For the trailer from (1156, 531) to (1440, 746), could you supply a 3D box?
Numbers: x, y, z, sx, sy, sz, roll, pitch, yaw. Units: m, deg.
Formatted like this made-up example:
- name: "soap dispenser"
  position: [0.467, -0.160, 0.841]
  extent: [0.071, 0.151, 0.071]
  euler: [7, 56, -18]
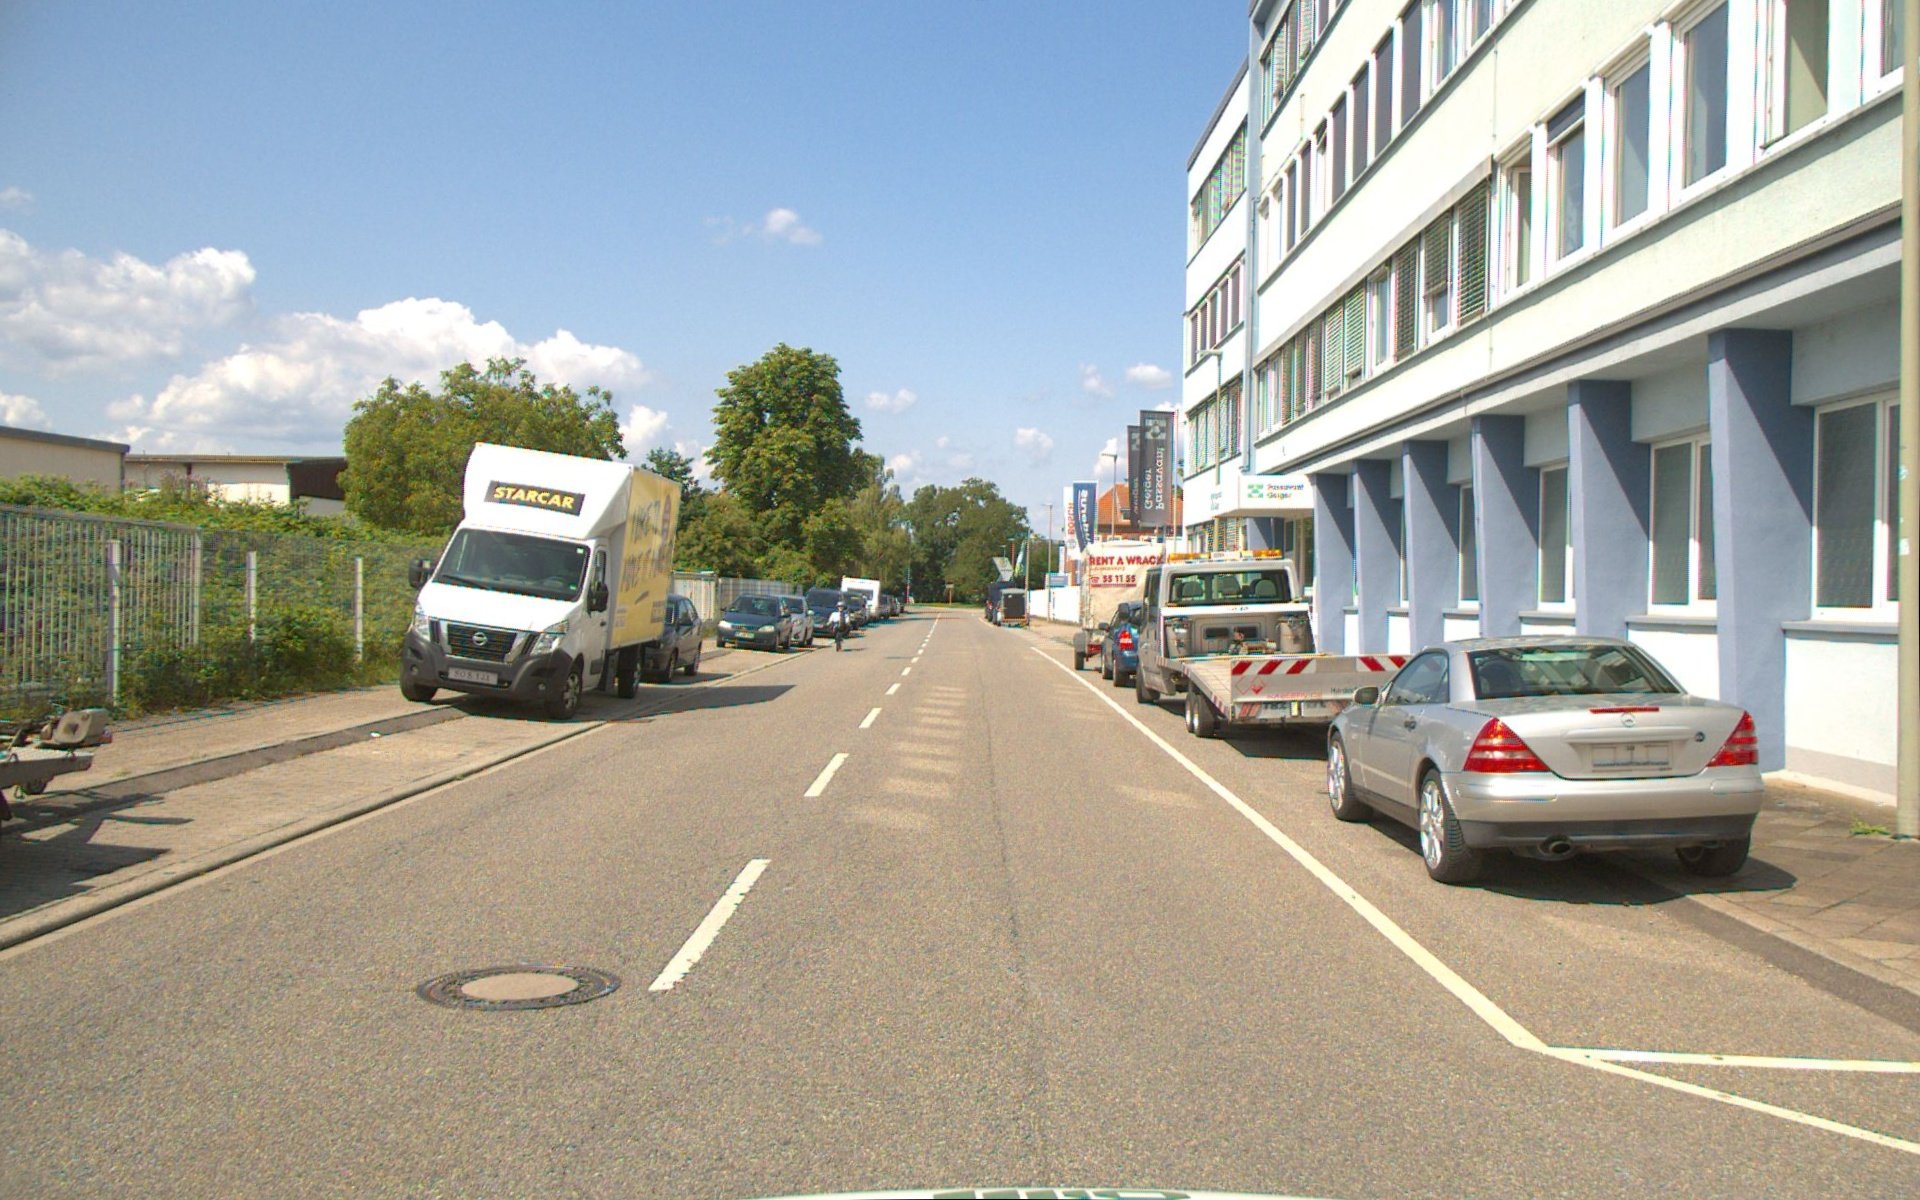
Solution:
- name: "trailer"
  position: [3.544, 0.357, 18.557]
  extent: [1.933, 2.005, 5.765]
  euler: [1, 0, -1]

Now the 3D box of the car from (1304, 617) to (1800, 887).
- name: "car"
  position: [3.394, 0.785, 10.315]
  extent: [1.613, 1.268, 4.000]
  euler: [1, 0, -1]

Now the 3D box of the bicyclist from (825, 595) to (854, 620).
- name: "bicyclist"
  position: [-3.328, 0.211, 45.687]
  extent: [0.554, 0.642, 1.858]
  euler: [2, 1, 3]

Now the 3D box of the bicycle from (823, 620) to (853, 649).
- name: "bicycle"
  position: [-3.353, 0.942, 45.692]
  extent: [0.575, 0.754, 2.126]
  euler: [1, 0, 2]

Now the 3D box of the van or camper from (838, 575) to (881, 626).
- name: "van or camper"
  position: [-6.091, 0.041, 101.027]
  extent: [2.218, 2.852, 6.831]
  euler: [5, 0, -2]

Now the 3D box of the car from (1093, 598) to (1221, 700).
- name: "car"
  position: [3.343, 0.807, 28.774]
  extent: [1.683, 1.569, 4.403]
  euler: [2, 0, 0]

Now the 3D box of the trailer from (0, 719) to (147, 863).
- name: "trailer"
  position: [-5.819, 0.979, 7.419]
  extent: [2.190, 0.562, 4.443]
  euler: [2, 0, -1]

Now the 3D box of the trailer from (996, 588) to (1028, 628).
- name: "trailer"
  position: [2.801, 0.444, 90.220]
  extent: [1.569, 2.073, 2.740]
  euler: [2, 0, -1]

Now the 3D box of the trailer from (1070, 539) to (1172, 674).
- name: "trailer"
  position: [3.318, 0.126, 34.840]
  extent: [1.830, 2.598, 5.073]
  euler: [1, 0, 2]

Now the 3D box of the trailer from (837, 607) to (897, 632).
- name: "trailer"
  position: [-4.270, 0.878, 77.151]
  extent: [2.225, 0.898, 7.132]
  euler: [6, 0, 1]

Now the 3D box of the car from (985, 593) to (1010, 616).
- name: "car"
  position: [2.846, 0.328, 126.894]
  extent: [1.787, 1.693, 4.555]
  euler: [0, 0, 0]

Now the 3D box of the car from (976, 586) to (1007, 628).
- name: "car"
  position: [2.163, 0.492, 114.409]
  extent: [1.898, 2.796, 6.153]
  euler: [1, 0, -1]

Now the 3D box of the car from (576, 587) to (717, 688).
- name: "car"
  position: [-5.430, 0.614, 29.093]
  extent: [1.587, 1.454, 3.826]
  euler: [7, 0, 0]

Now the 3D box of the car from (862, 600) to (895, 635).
- name: "car"
  position: [-4.563, 0.953, 92.102]
  extent: [1.651, 1.721, 4.441]
  euler: [5, 0, -4]

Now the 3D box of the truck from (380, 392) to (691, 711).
- name: "truck"
  position: [-5.381, -0.528, 22.247]
  extent: [2.205, 3.420, 6.905]
  euler: [5, -1, -1]

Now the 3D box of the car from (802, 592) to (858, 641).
- name: "car"
  position: [-4.865, 0.603, 62.488]
  extent: [1.764, 1.780, 4.712]
  euler: [1, 0, -1]

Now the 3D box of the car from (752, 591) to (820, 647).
- name: "car"
  position: [-5.146, 0.538, 49.266]
  extent: [1.582, 1.509, 3.709]
  euler: [3, 0, 0]

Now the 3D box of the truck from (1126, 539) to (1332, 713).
- name: "truck"
  position: [3.479, 0.311, 22.291]
  extent: [1.924, 2.071, 4.733]
  euler: [1, 0, -1]

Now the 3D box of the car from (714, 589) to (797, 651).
- name: "car"
  position: [-5.423, 0.499, 44.294]
  extent: [1.537, 1.423, 3.799]
  euler: [6, 0, 1]

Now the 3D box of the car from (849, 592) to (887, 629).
- name: "car"
  position: [-4.751, 0.528, 85.810]
  extent: [1.790, 1.825, 4.734]
  euler: [1, 0, -1]

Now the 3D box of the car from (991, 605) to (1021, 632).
- name: "car"
  position: [2.685, 1.054, 96.493]
  extent: [1.540, 1.534, 4.132]
  euler: [1, 0, -1]
